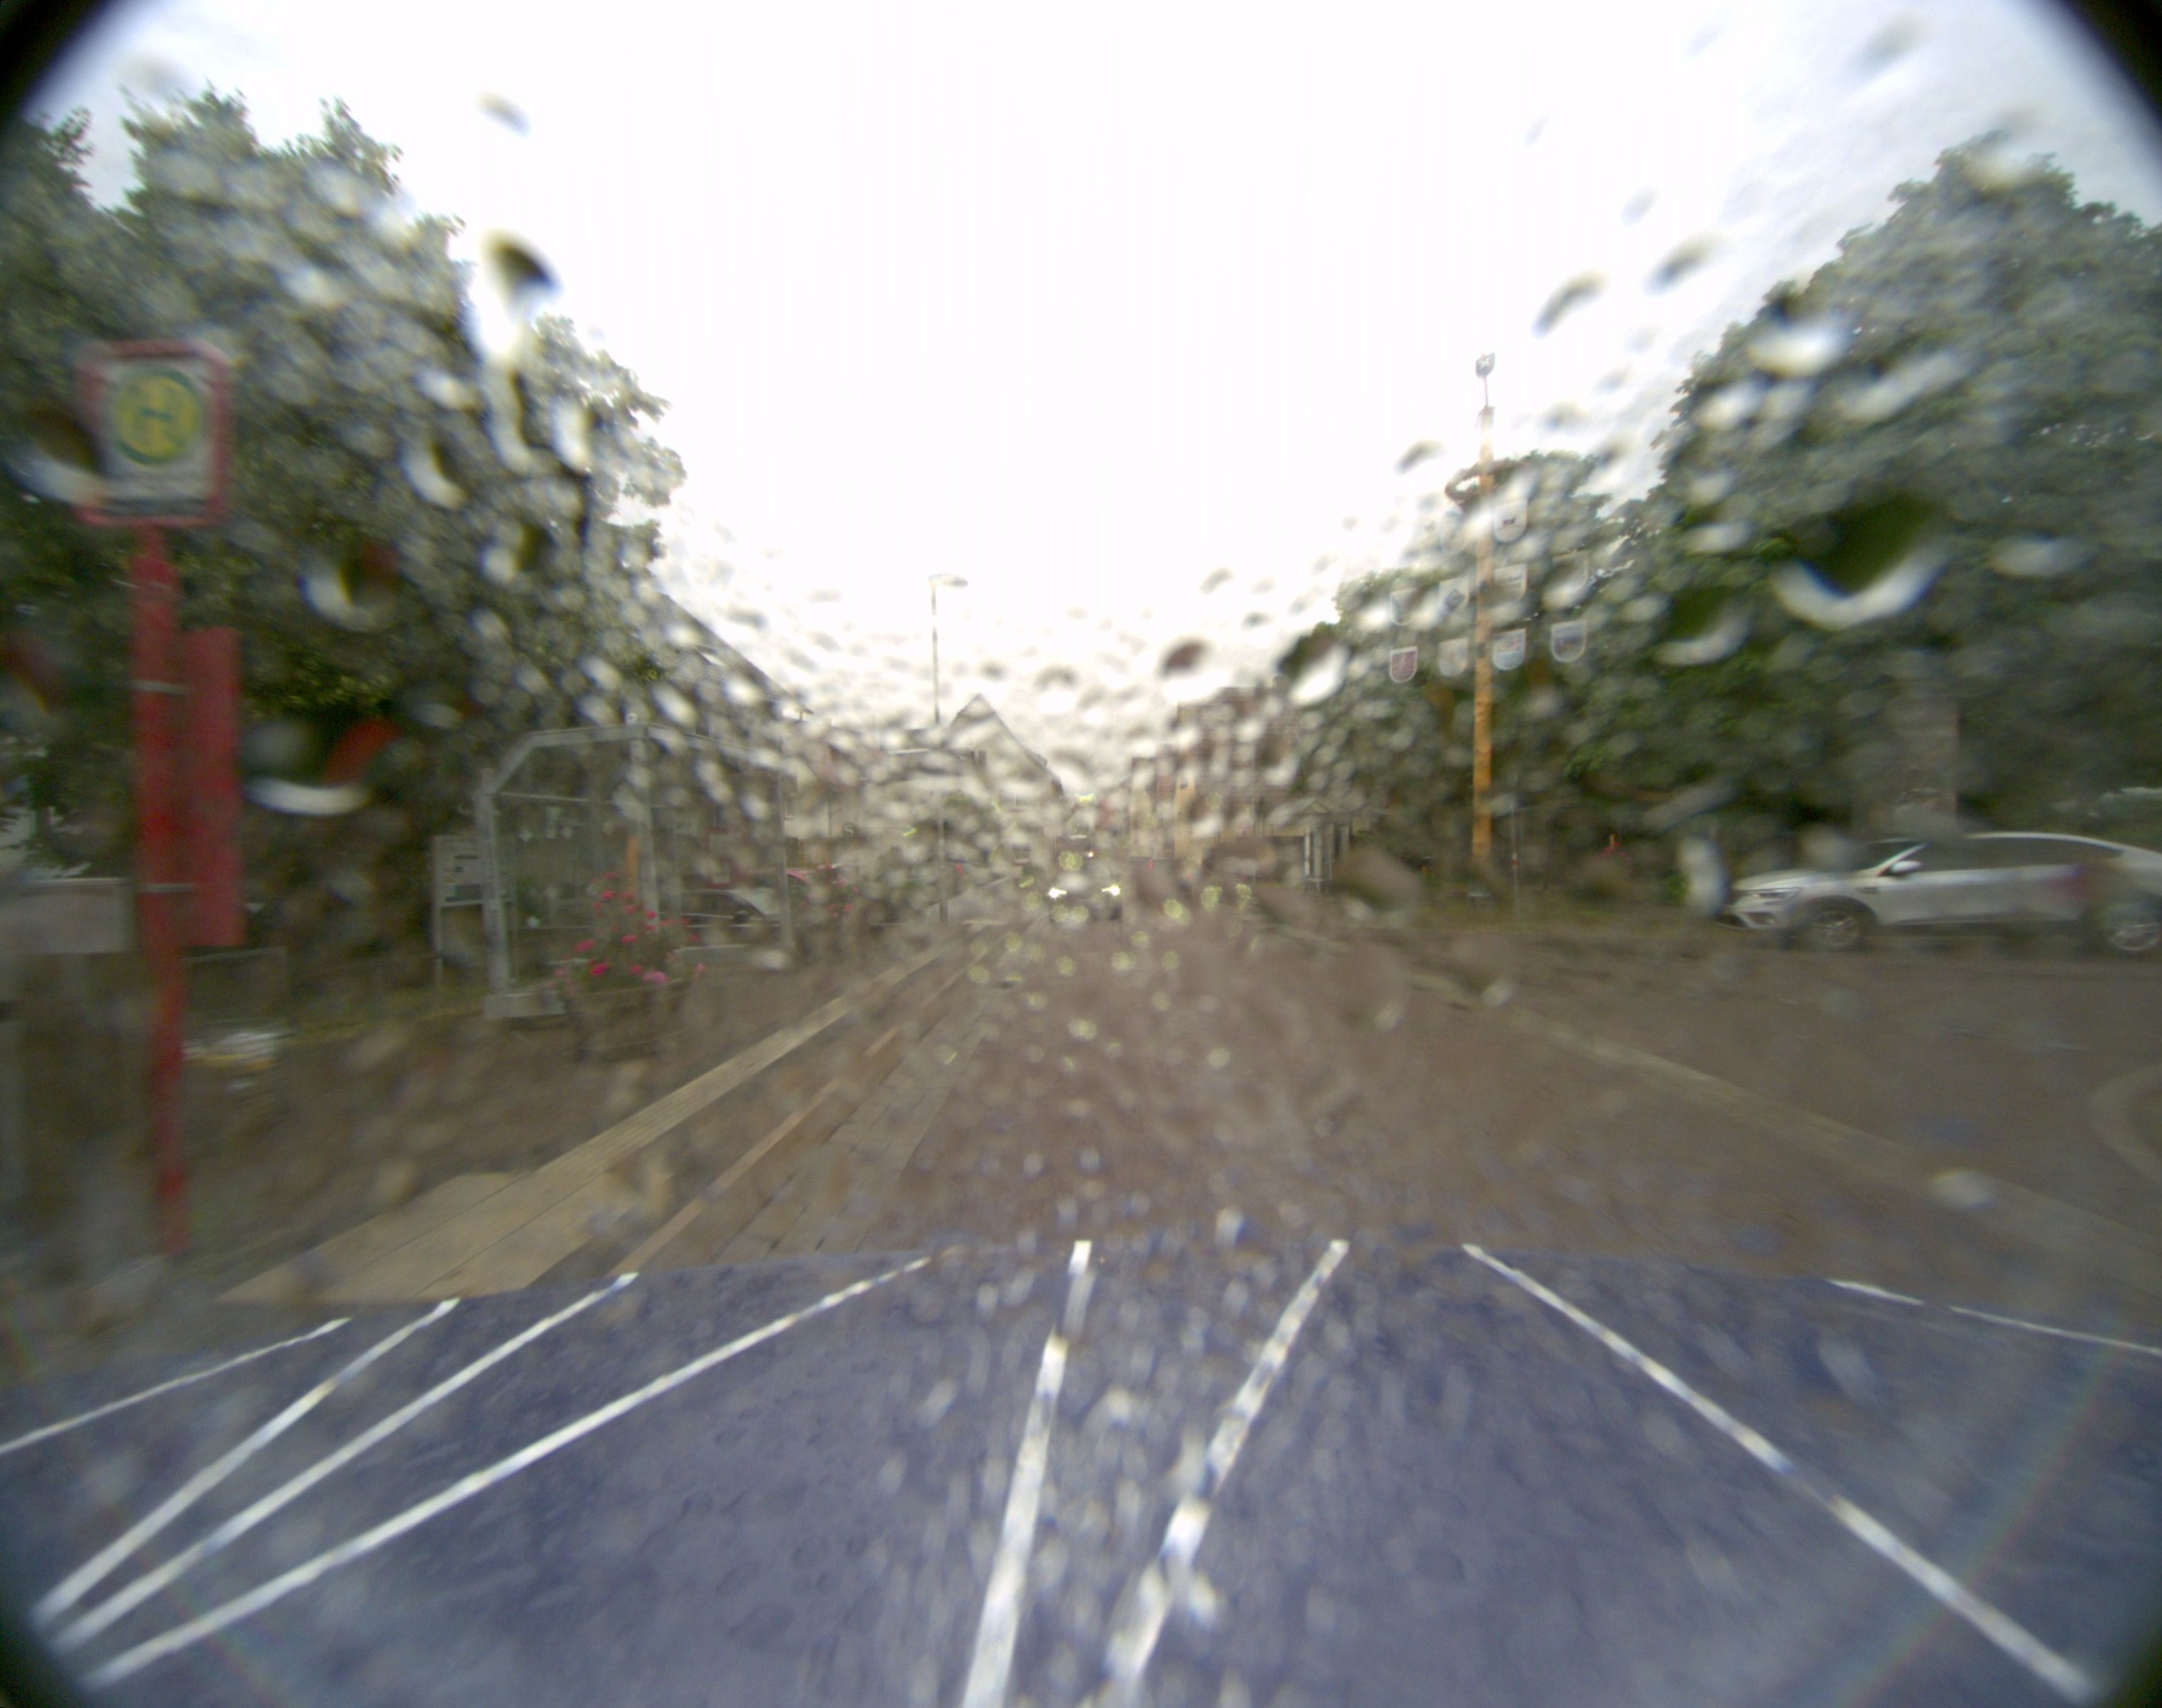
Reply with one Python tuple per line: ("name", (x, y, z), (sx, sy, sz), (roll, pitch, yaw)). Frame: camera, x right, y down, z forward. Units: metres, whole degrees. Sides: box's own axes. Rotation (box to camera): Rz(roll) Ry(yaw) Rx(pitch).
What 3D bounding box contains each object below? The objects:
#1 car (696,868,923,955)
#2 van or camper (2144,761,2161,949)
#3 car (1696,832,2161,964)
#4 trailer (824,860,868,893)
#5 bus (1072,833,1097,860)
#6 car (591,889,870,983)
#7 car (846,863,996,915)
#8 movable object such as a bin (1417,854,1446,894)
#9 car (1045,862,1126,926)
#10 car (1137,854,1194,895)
("car", (-5.605, 1.142, 15.816), (4.073, 1.580, 1.859), (-1, 1, 15))
("van or camper", (16.378, -0.011, 7.896), (5.863, 2.460, 2.158), (-1, 2, 26))
("car", (11.550, 0.560, 10.436), (4.450, 1.541, 1.885), (-2, 0, 22))
("trailer", (-13.315, 1.269, 43.153), (1.572, 1.731, 2.610), (-2, 0, 0))
("bus", (0.457, -1.249, 109.984), (2.893, 3.590, 11.972), (-1, 2, -3))
("car", (-5.847, 1.328, 12.892), (3.958, 1.370, 1.753), (-1, 0, 9))
("car", (-4.954, 1.083, 23.649), (4.233, 1.472, 1.697), (-1, 1, 16))
("movable object such as a bin", (10.352, 0.594, 22.439), (0.563, 1.140, 0.604), (-1, 3, -1))
("car", (0.178, 0.936, 19.439), (1.800, 1.342, 3.738), (-2, 0, 2))
("car", (3.161, 0.739, 29.140), (1.848, 1.468, 4.315), (0, 0, 2))
